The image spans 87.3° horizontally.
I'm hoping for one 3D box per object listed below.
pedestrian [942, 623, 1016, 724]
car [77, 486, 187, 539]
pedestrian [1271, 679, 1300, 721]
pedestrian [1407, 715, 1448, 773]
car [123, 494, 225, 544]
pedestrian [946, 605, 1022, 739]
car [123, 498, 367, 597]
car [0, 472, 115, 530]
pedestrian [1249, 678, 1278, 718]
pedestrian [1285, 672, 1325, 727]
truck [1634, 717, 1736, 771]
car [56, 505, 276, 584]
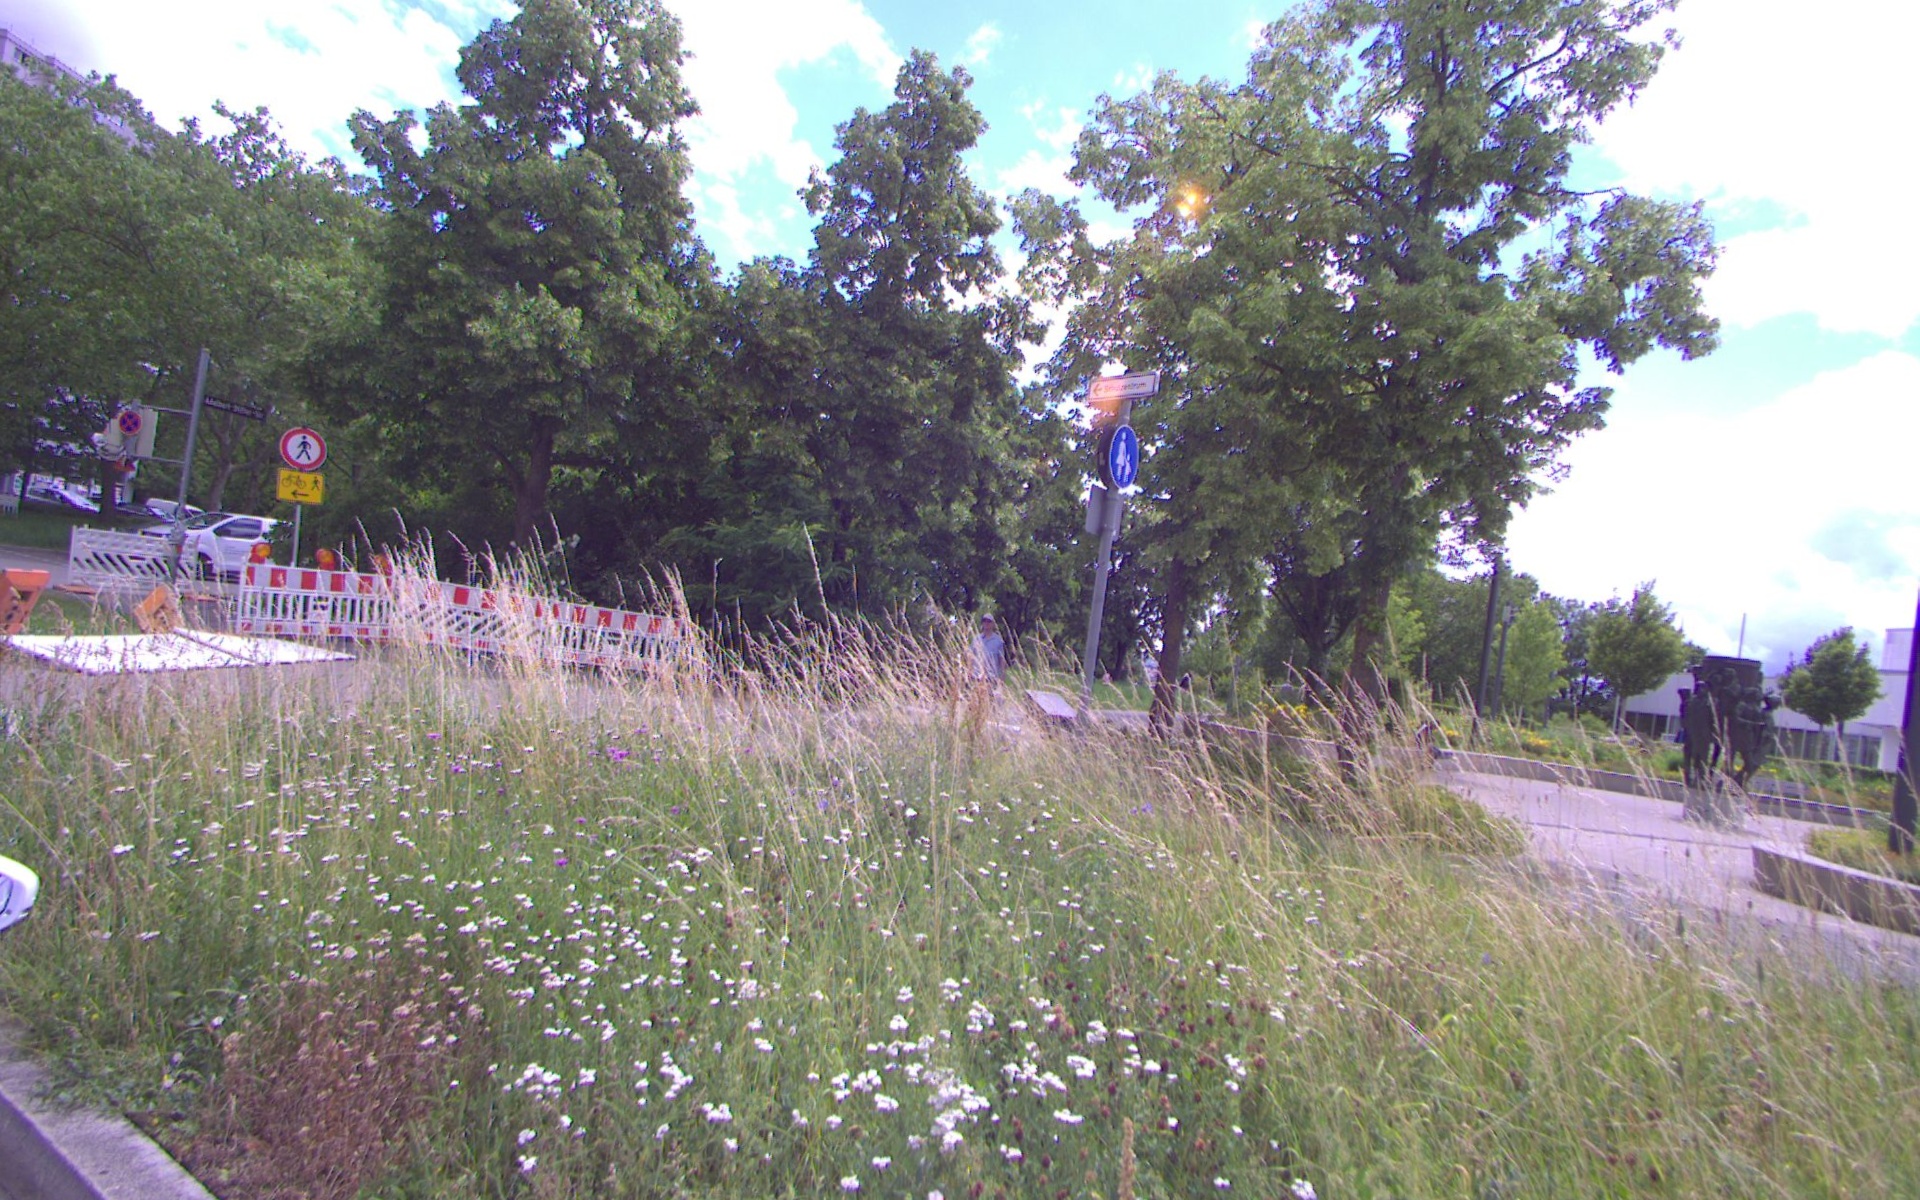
[{"bbox_3d":[0.352,1.319,18.006,0.878,1.647,0.818,8,-1,23],"label":"pedestrian"},{"bbox_3d":[-43.787,-4.600,53.281,3.926,2.037,2.001,8,-1,0],"label":"car"},{"bbox_3d":[14.696,4.511,45.389,0.879,1.732,0.817,8,-1,30],"label":"pedestrian"},{"bbox_3d":[10.761,3.306,23.157,0.623,1.236,0.618,7,-1,36],"label":"pedestrian"},{"bbox_3d":[-44.242,-4.527,56.684,3.926,2.037,2.001,8,-1,0],"label":"car"},{"bbox_3d":[0.365,1.075,15.034,0.757,1.862,0.765,7,-1,15],"label":"pedestrian"},{"bbox_3d":[-19.716,-1.386,28.046,1.915,1.895,5.090,7,-2,28],"label":"car"},{"bbox_3d":[-43.693,-4.776,48.565,3.926,2.037,2.001,8,-1,0],"label":"car"},{"bbox_3d":[13.899,4.488,46.060,0.872,1.681,0.817,8,-1,30],"label":"pedestrian"},{"bbox_3d":[14.018,4.042,40.888,1.137,2.037,0.817,8,0,30],"label":"pedestrian"},{"bbox_3d":[37.320,7.395,51.916,1.965,2.037,3.999,8,-1,-4],"label":"truck"},{"bbox_3d":[-22.758,-1.544,29.021,1.955,1.503,4.486,7,-2,30],"label":"car"}]
